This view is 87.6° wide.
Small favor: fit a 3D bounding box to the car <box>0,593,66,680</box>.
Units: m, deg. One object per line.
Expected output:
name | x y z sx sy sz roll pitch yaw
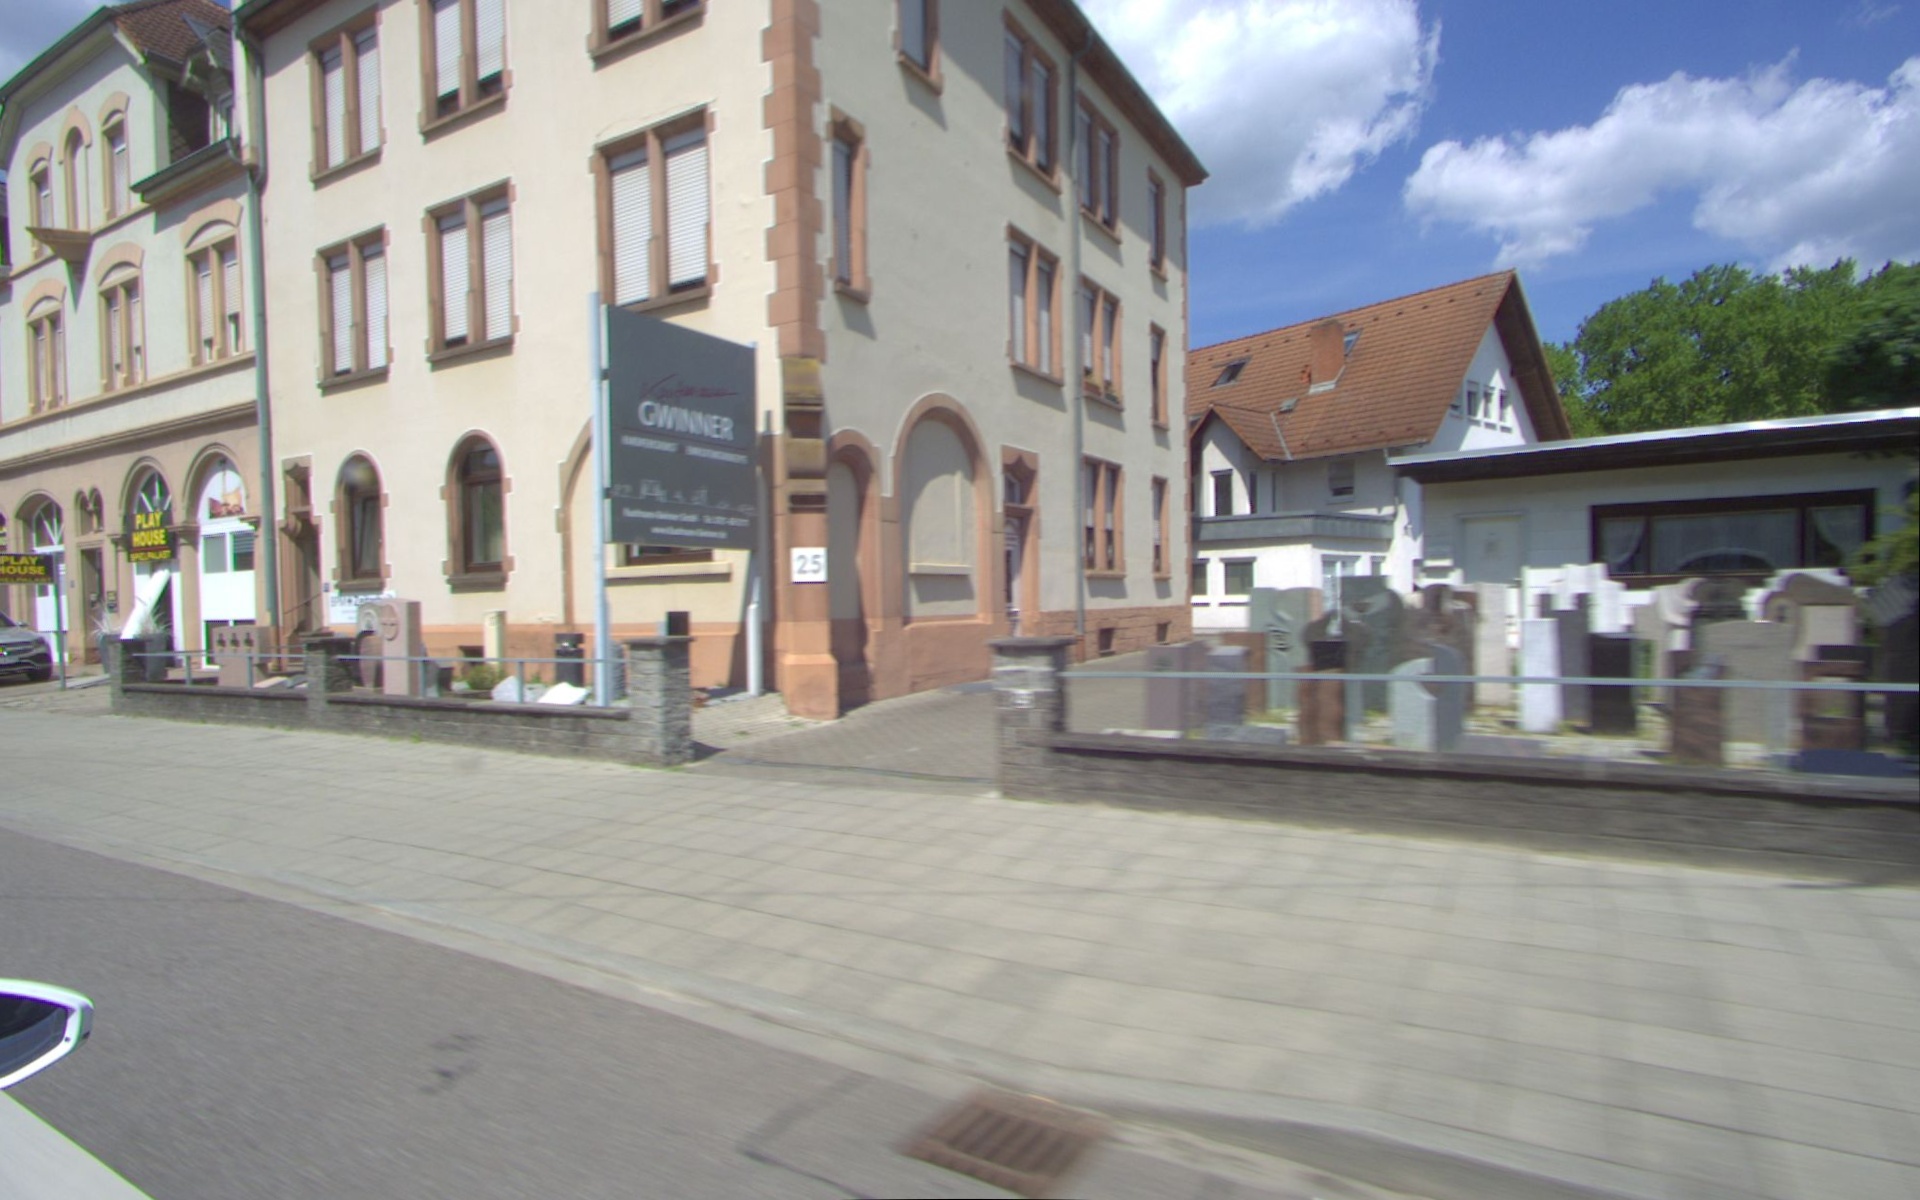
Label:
car | -20.800 0.773 20.830 4.570 1.647 1.874 -1 3 30
